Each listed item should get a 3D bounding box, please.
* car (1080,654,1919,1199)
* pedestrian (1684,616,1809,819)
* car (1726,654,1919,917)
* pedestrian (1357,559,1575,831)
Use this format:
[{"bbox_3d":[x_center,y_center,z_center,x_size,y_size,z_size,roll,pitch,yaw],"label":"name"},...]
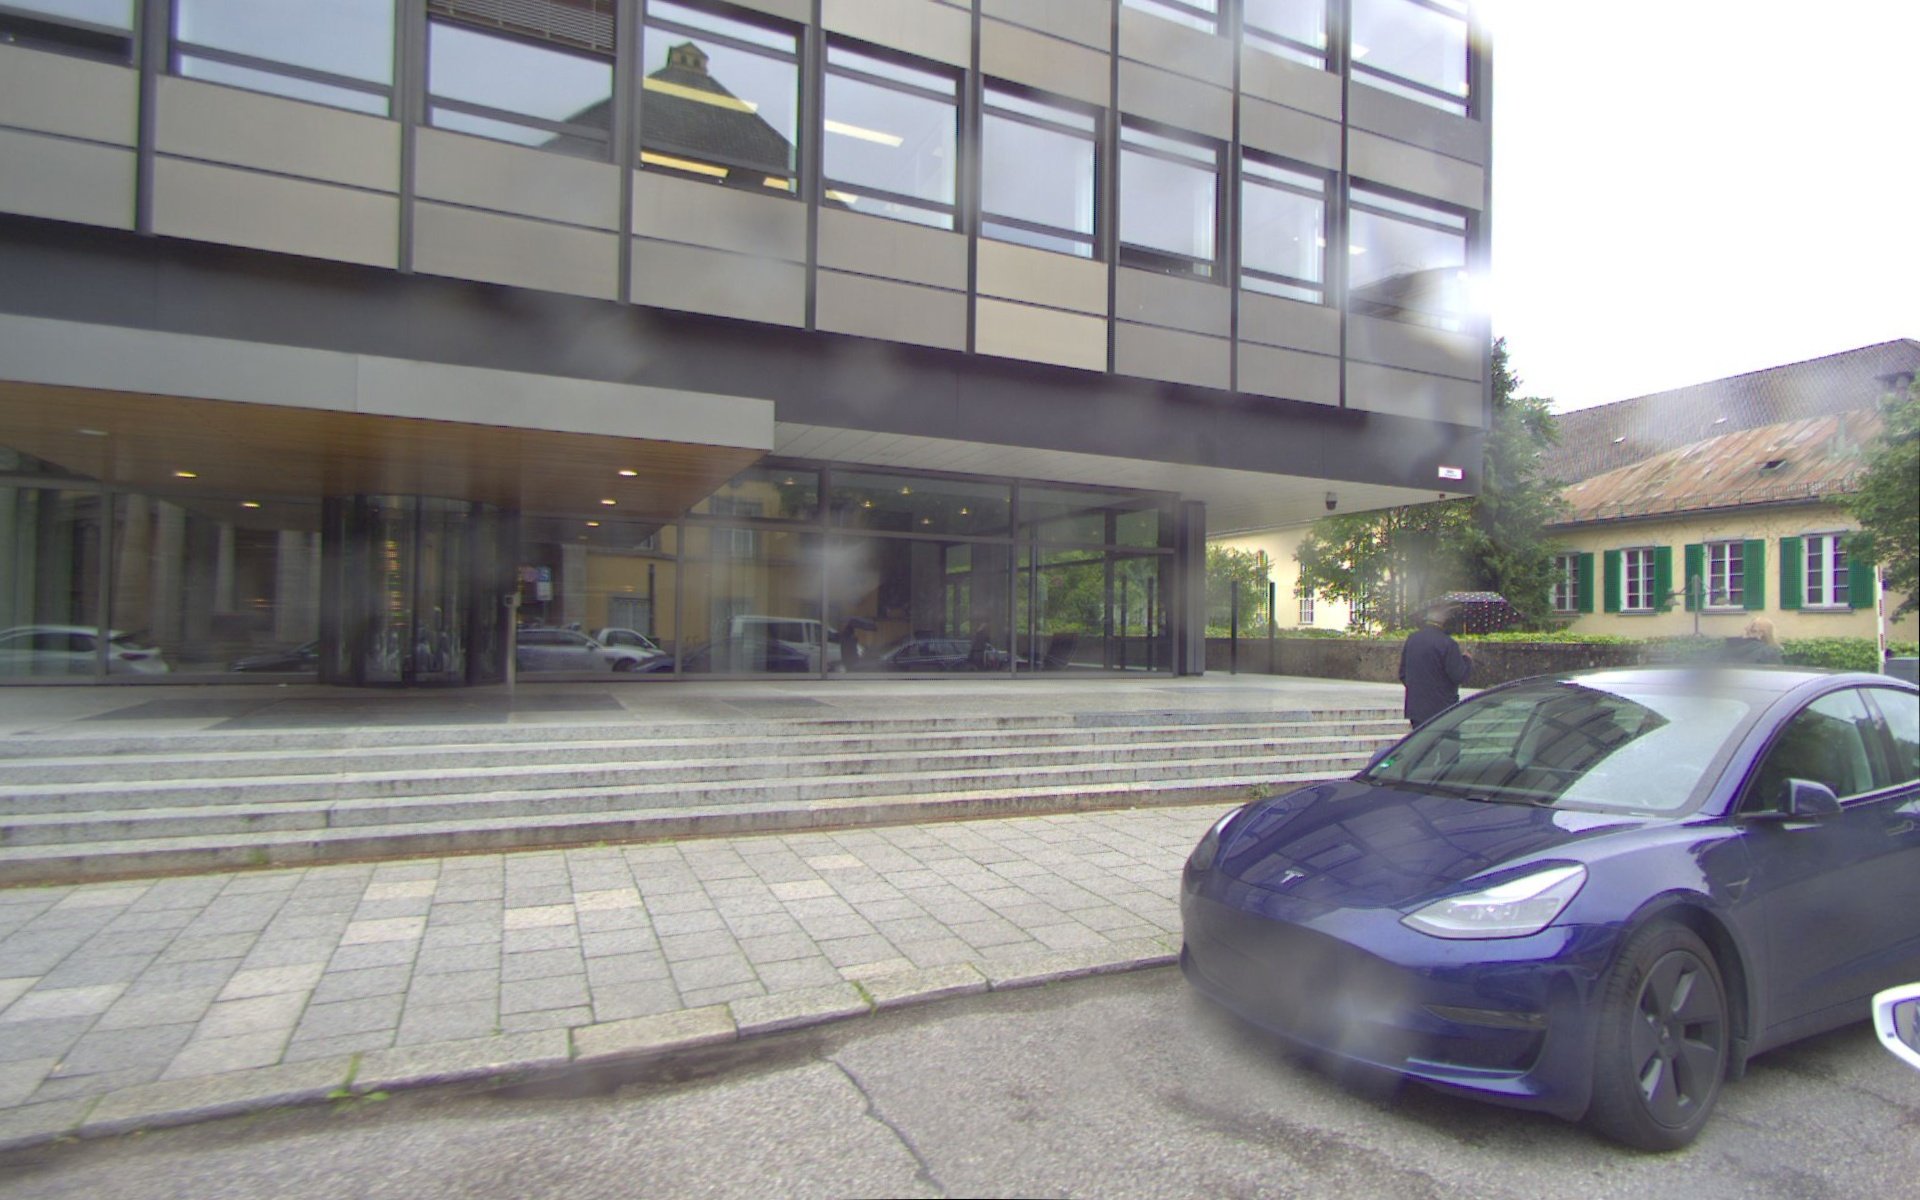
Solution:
[{"bbox_3d":[3.092,1.005,4.463,4.853,1.458,1.917,2,-4,-26],"label":"car"},{"bbox_3d":[7.342,1.044,9.373,0.945,1.772,0.746,2,-2,-40],"label":"pedestrian"},{"bbox_3d":[7.743,1.136,6.776,4.814,1.510,1.989,2,-3,-23],"label":"car"},{"bbox_3d":[4.245,0.765,8.490,1.204,2.081,1.132,2,-3,-25],"label":"pedestrian"}]
